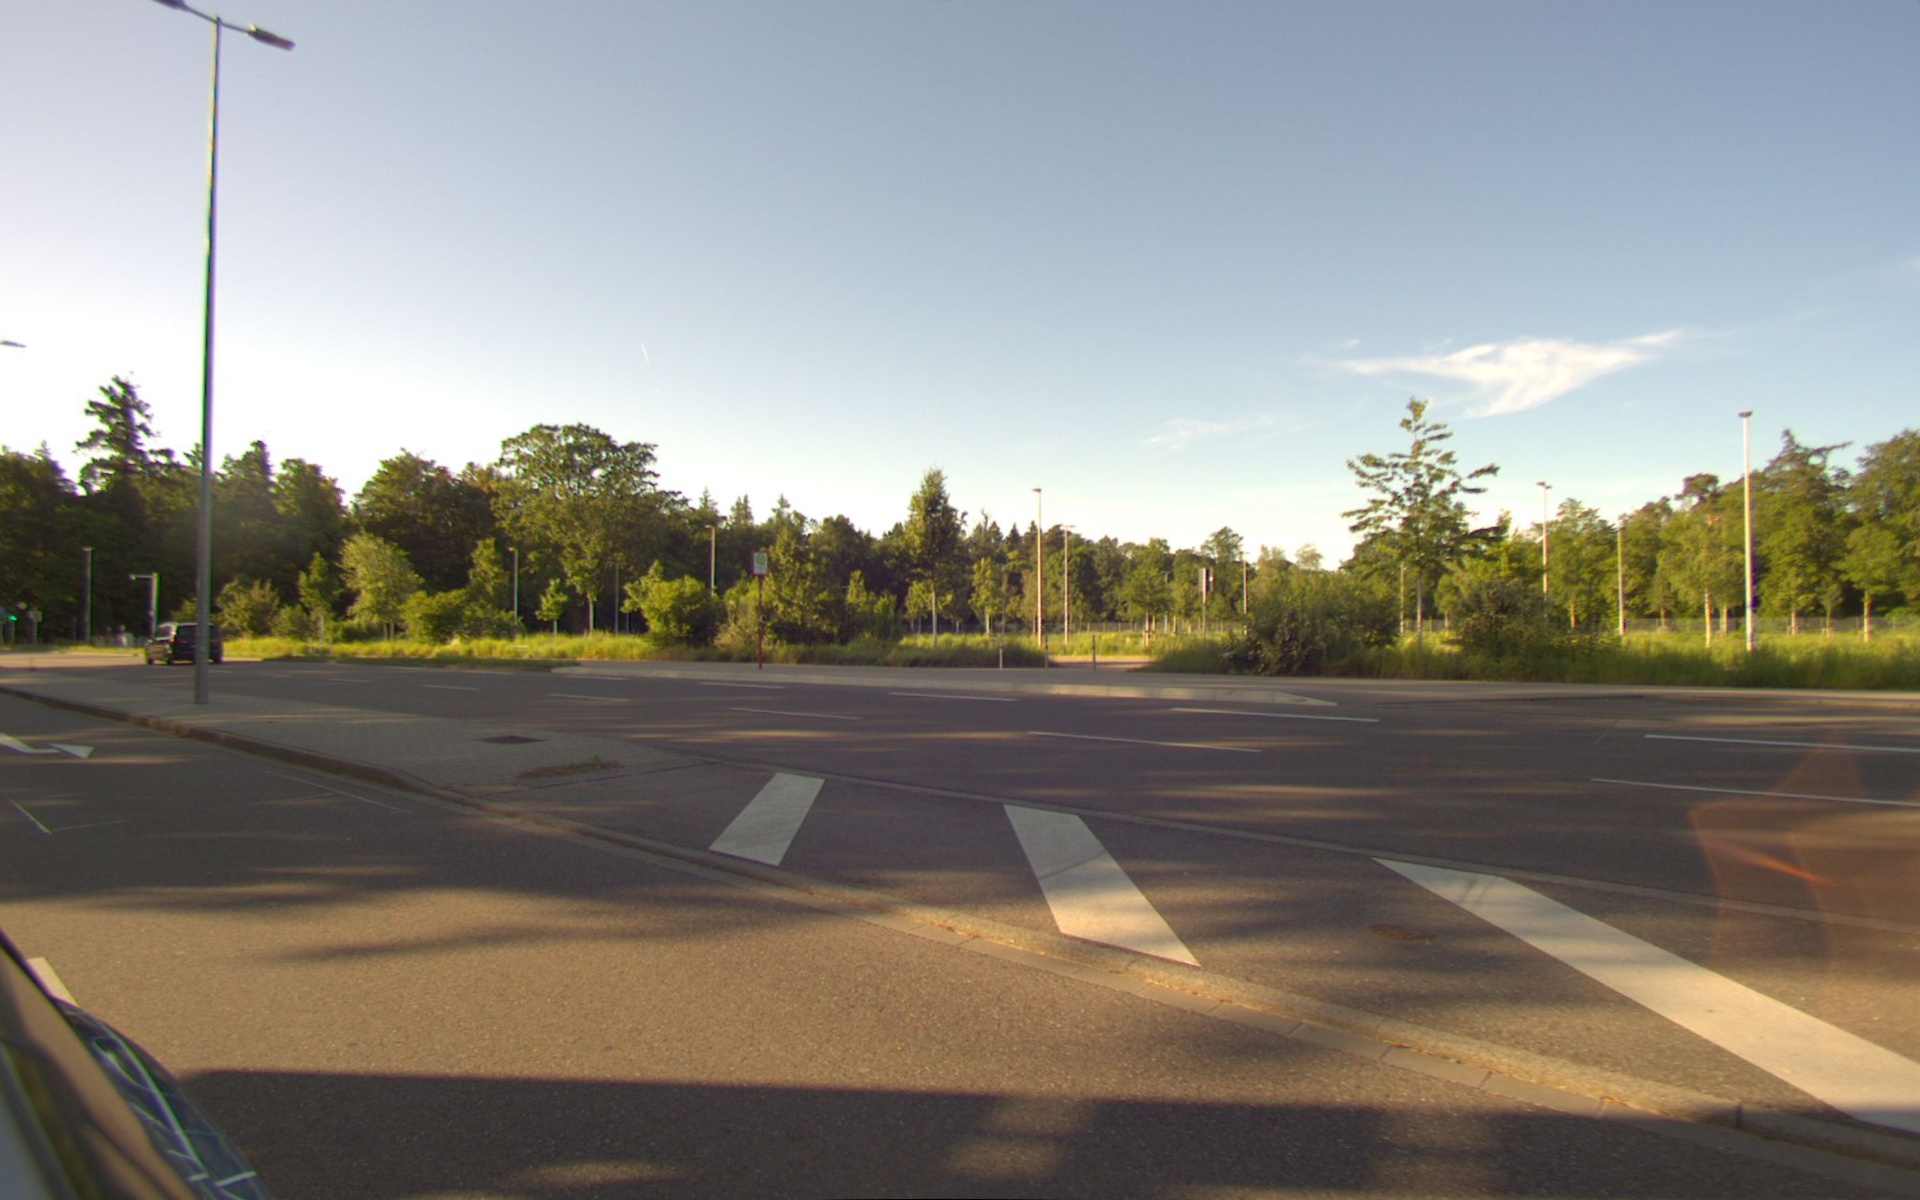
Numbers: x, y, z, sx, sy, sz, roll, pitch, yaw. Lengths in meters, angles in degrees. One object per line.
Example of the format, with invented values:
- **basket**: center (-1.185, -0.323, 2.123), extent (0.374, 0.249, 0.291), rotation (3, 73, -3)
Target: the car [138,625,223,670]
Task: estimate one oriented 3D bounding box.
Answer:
- **car**: center (-31.963, 1.959, 41.446), extent (4.697, 1.705, 1.765), rotation (-3, -2, 39)
